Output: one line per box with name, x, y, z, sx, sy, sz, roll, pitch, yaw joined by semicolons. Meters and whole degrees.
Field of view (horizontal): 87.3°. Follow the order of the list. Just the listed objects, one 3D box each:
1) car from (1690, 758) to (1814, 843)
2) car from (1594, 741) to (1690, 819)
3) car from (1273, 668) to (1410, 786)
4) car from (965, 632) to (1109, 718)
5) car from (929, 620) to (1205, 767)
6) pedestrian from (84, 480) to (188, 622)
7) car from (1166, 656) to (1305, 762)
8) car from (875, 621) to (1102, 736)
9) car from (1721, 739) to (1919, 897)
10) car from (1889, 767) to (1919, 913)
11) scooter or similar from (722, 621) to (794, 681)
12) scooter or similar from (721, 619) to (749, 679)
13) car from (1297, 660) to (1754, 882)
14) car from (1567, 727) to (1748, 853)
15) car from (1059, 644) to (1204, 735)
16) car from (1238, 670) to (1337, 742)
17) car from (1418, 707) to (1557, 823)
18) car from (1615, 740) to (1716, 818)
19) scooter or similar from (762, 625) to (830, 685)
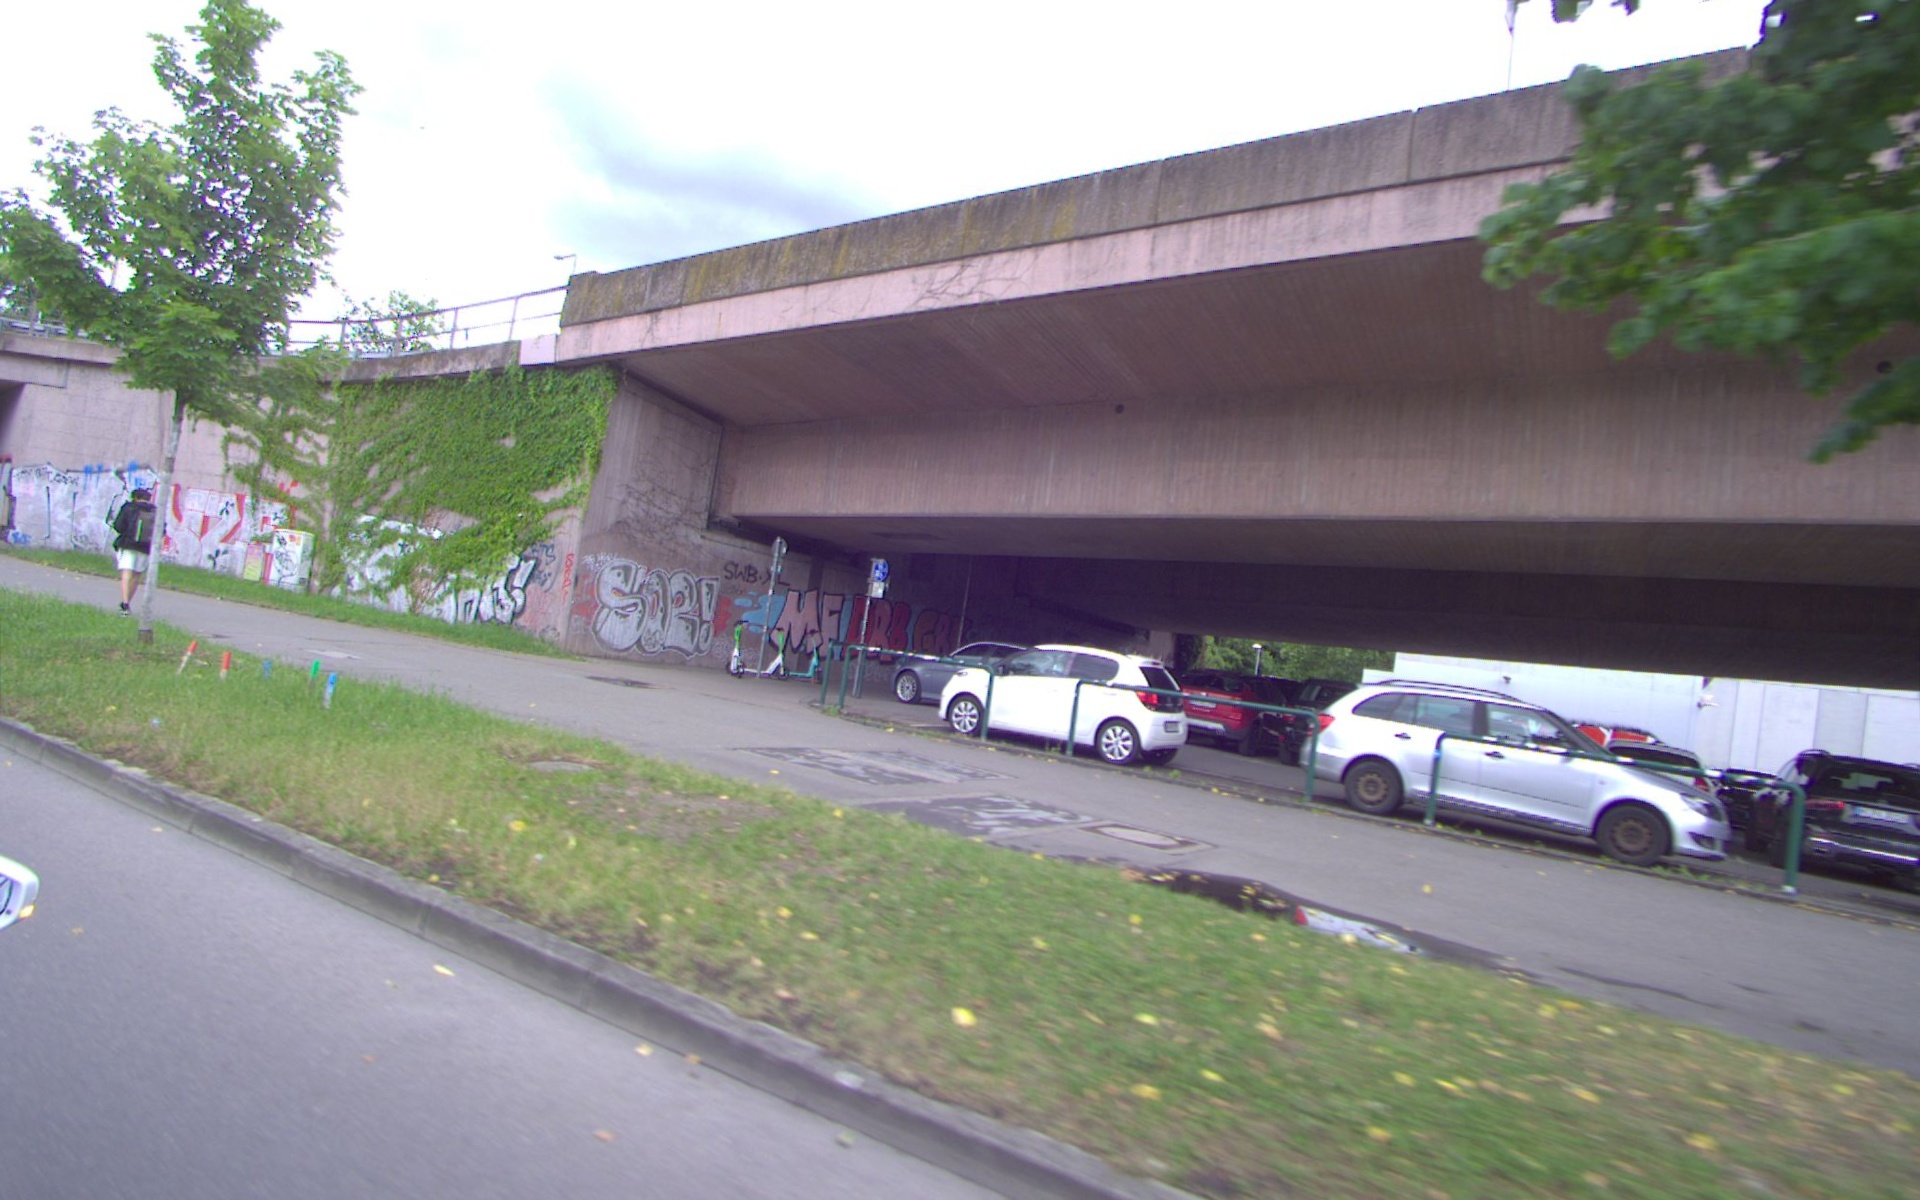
car;18.233;4.570;23.326;1.809;1.442;3.857;8;-3;34
car;16.541;4.326;24.483;1.652;1.442;3.857;8;-3;34
car;7.050;2.307;18.371;1.727;1.656;3.863;8;-3;28
car;1.839;1.761;22.820;1.727;1.494;3.863;8;-3;28
car;1.459;1.279;14.025;3.323;1.455;1.577;7;-3;34
pedestrian;-12.090;-0.710;14.771;0.811;1.929;0.736;7;-2;32
car;5.583;2.192;20.074;1.727;1.656;3.863;8;-3;28
car;0.491;1.476;19.284;3.941;1.515;1.745;7;-3;39
car;12.500;3.009;14.410;1.727;1.712;3.863;8;-3;28
car;10.765;2.448;8.216;4.303;1.336;1.771;7;-3;33
scooter or similar;-4.511;1.133;22.433;1.411;1.142;0.270;8;-1;5
scooter or similar;-4.655;0.990;20.788;0.266;1.142;1.674;8;-2;-18
car;6.065;1.776;11.194;4.000;1.552;1.617;7;-3;30
car;10.972;2.922;16.089;1.727;1.449;3.863;8;-3;28
car;3.692;1.931;21.082;1.727;1.494;3.863;8;-3;28
car;10.410;3.379;31.819;1.853;1.808;3.659;8;-3;34
car;8.980;2.748;17.218;1.727;1.454;3.863;8;-3;28
car;20.444;5.158;29.298;2.058;1.695;5.100;8;-3;34
scooter or similar;-3.822;1.280;23.469;1.411;1.181;0.270;8;-1;5
